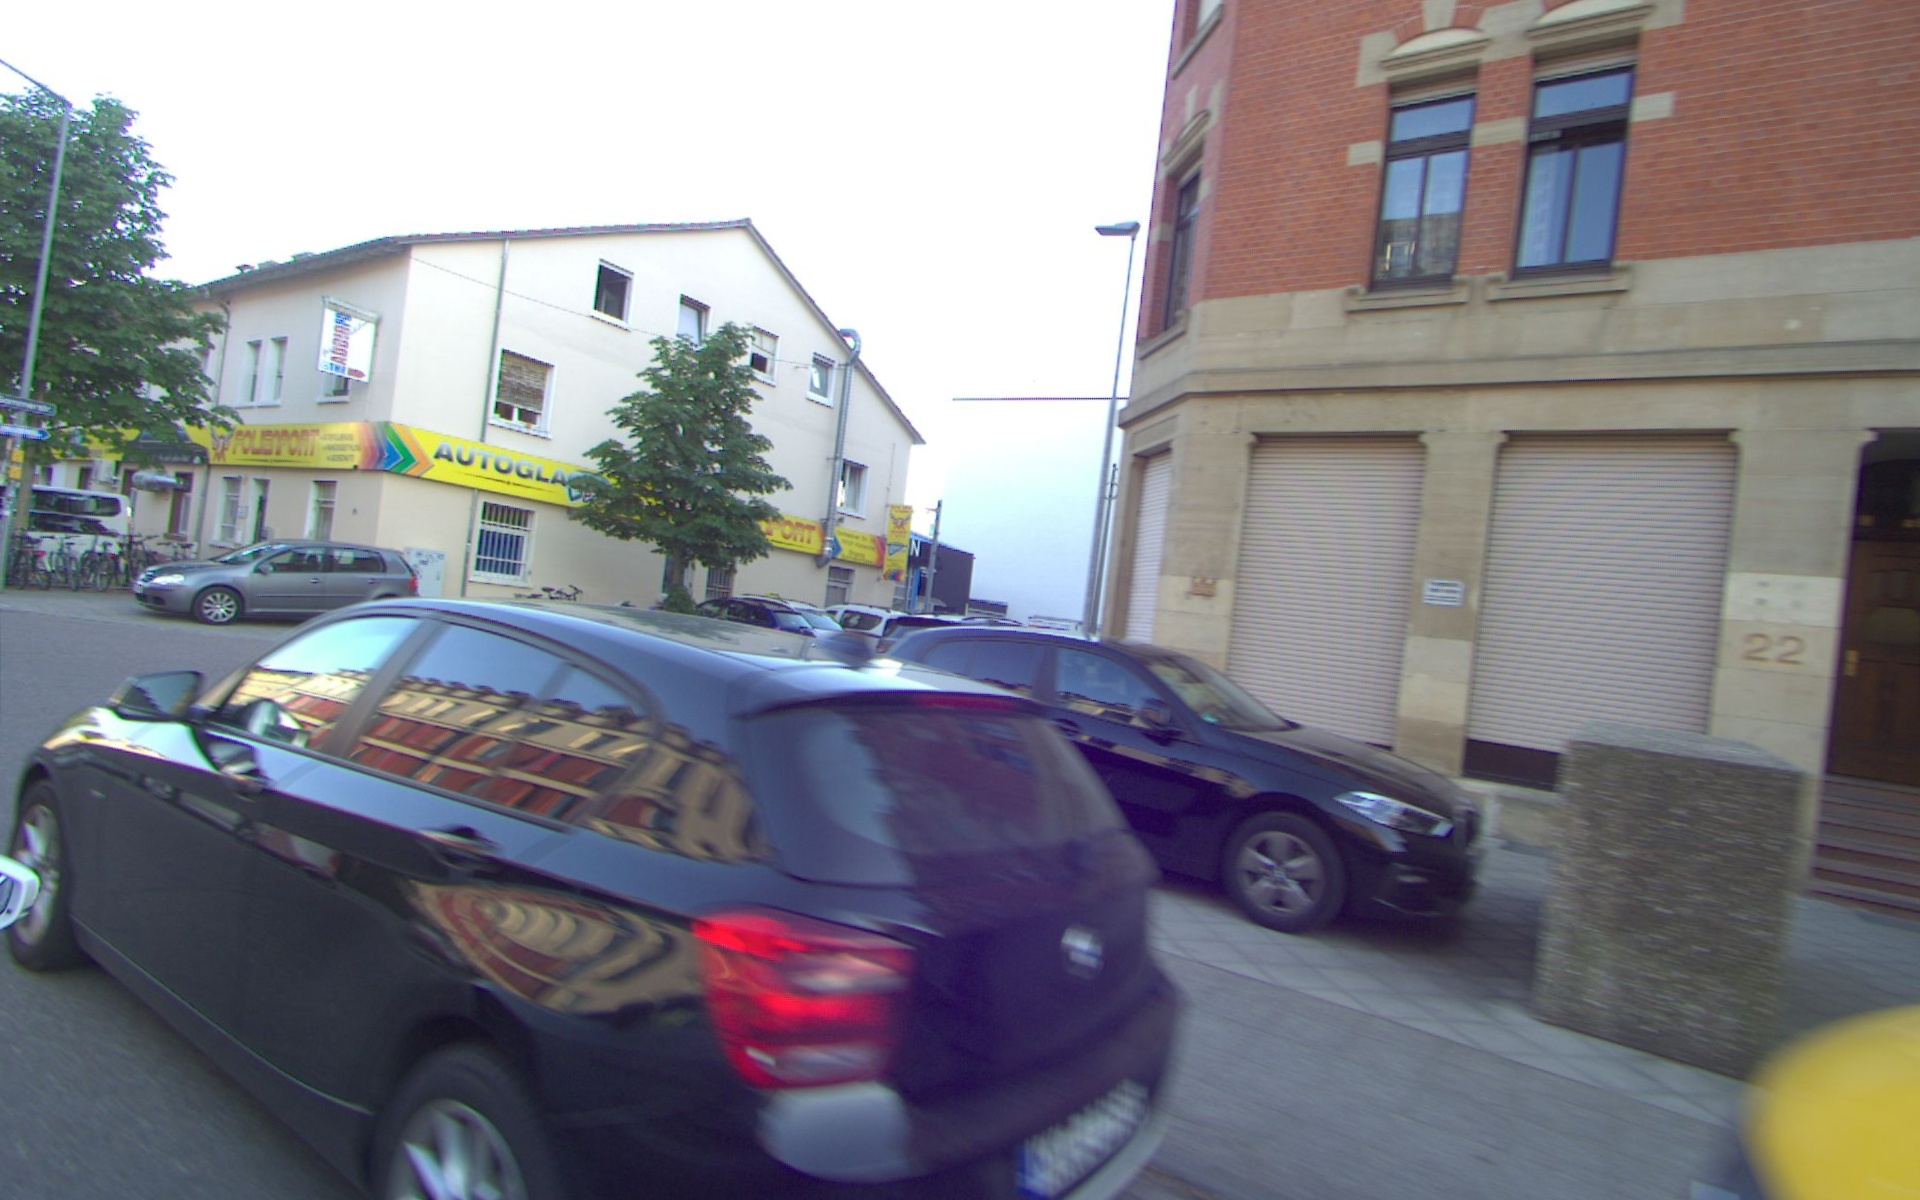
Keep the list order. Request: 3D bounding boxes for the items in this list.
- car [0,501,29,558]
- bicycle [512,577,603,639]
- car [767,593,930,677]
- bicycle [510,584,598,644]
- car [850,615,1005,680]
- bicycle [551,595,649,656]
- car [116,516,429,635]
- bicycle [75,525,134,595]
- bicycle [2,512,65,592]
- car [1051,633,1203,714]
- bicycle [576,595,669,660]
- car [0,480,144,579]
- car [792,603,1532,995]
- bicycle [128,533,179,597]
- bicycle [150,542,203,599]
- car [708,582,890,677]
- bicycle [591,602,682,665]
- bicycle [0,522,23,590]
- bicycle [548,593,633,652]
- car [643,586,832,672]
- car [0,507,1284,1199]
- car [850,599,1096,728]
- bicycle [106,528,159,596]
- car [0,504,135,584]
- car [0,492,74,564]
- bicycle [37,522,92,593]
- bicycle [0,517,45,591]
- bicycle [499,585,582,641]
[{"bbox_3d":[-28.574,-2.172,27.749,1.909,1.545,3.910,6,0,36],"label":"car"},{"bbox_3d":[-9.056,0.210,22.698,0.338,1.162,1.862,10,-1,36],"label":"bicycle"},{"bbox_3d":[-3.197,0.976,28.507,4.265,1.924,1.874,4,-2,34],"label":"car"},{"bbox_3d":[-8.729,0.321,21.688,0.338,1.082,1.734,10,-1,34],"label":"bicycle"},{"bbox_3d":[-1.001,1.394,29.967,4.265,1.462,1.788,4,-2,34],"label":"car"},{"bbox_3d":[-7.371,0.549,20.664,0.421,1.022,1.851,10,-1,36],"label":"bicycle"},{"bbox_3d":[-11.730,-0.355,17.406,1.729,1.533,4.050,9,1,36],"label":"car"},{"bbox_3d":[-16.436,-0.777,19.314,1.458,1.215,0.445,7,1,36],"label":"bicycle"},{"bbox_3d":[-17.154,-0.898,18.605,1.986,1.321,0.385,6,1,36],"label":"bicycle"},{"bbox_3d":[3.804,1.662,22.289,1.642,1.494,4.323,5,-2,33],"label":"car"},{"bbox_3d":[-6.800,0.581,20.377,0.420,1.141,1.924,8,-2,27],"label":"bicycle"},{"bbox_3d":[-22.253,-1.751,23.093,2.185,2.008,4.988,6,0,36],"label":"car"},{"bbox_3d":[1.140,0.989,6.633,4.353,1.442,1.726,6,0,34],"label":"car"},{"bbox_3d":[-16.043,-0.703,20.001,1.458,1.157,0.353,6,1,36],"label":"bicycle"},{"bbox_3d":[-15.855,-0.607,20.359,1.458,1.030,0.387,6,1,36],"label":"bicycle"},{"bbox_3d":[-4.277,0.753,26.461,4.504,1.853,1.874,8,0,34],"label":"car"},{"bbox_3d":[-6.445,0.687,20.136,0.420,1.087,1.855,9,-1,27],"label":"bicycle"},{"bbox_3d":[-17.483,-0.836,18.162,1.986,1.128,0.386,6,1,36],"label":"bicycle"},{"bbox_3d":[-7.716,0.486,21.067,0.338,1.053,1.604,10,-1,36],"label":"bicycle"},{"bbox_3d":[-5.491,0.686,24.580,4.499,1.527,1.743,6,-1,33],"label":"car"},{"bbox_3d":[-1.413,0.658,3.150,4.186,1.440,1.724,6,-2,35],"label":"car"},{"bbox_3d":[0.372,1.077,16.364,1.849,1.692,4.323,5,-2,33],"label":"car"},{"bbox_3d":[-16.181,-0.754,19.659,1.458,1.215,0.353,7,1,36],"label":"bicycle"},{"bbox_3d":[-20.233,-1.284,21.257,1.739,1.470,3.920,7,1,33],"label":"car"},{"bbox_3d":[-26.549,-2.097,26.116,2.018,1.764,4.942,6,0,36],"label":"car"},{"bbox_3d":[-16.794,-0.809,18.860,1.458,1.215,0.386,7,1,36],"label":"bicycle"},{"bbox_3d":[-17.302,-0.868,18.387,1.986,1.215,0.385,6,1,36],"label":"bicycle"},{"bbox_3d":[-9.066,0.298,21.806,0.338,1.031,1.605,10,-1,34],"label":"bicycle"}]
